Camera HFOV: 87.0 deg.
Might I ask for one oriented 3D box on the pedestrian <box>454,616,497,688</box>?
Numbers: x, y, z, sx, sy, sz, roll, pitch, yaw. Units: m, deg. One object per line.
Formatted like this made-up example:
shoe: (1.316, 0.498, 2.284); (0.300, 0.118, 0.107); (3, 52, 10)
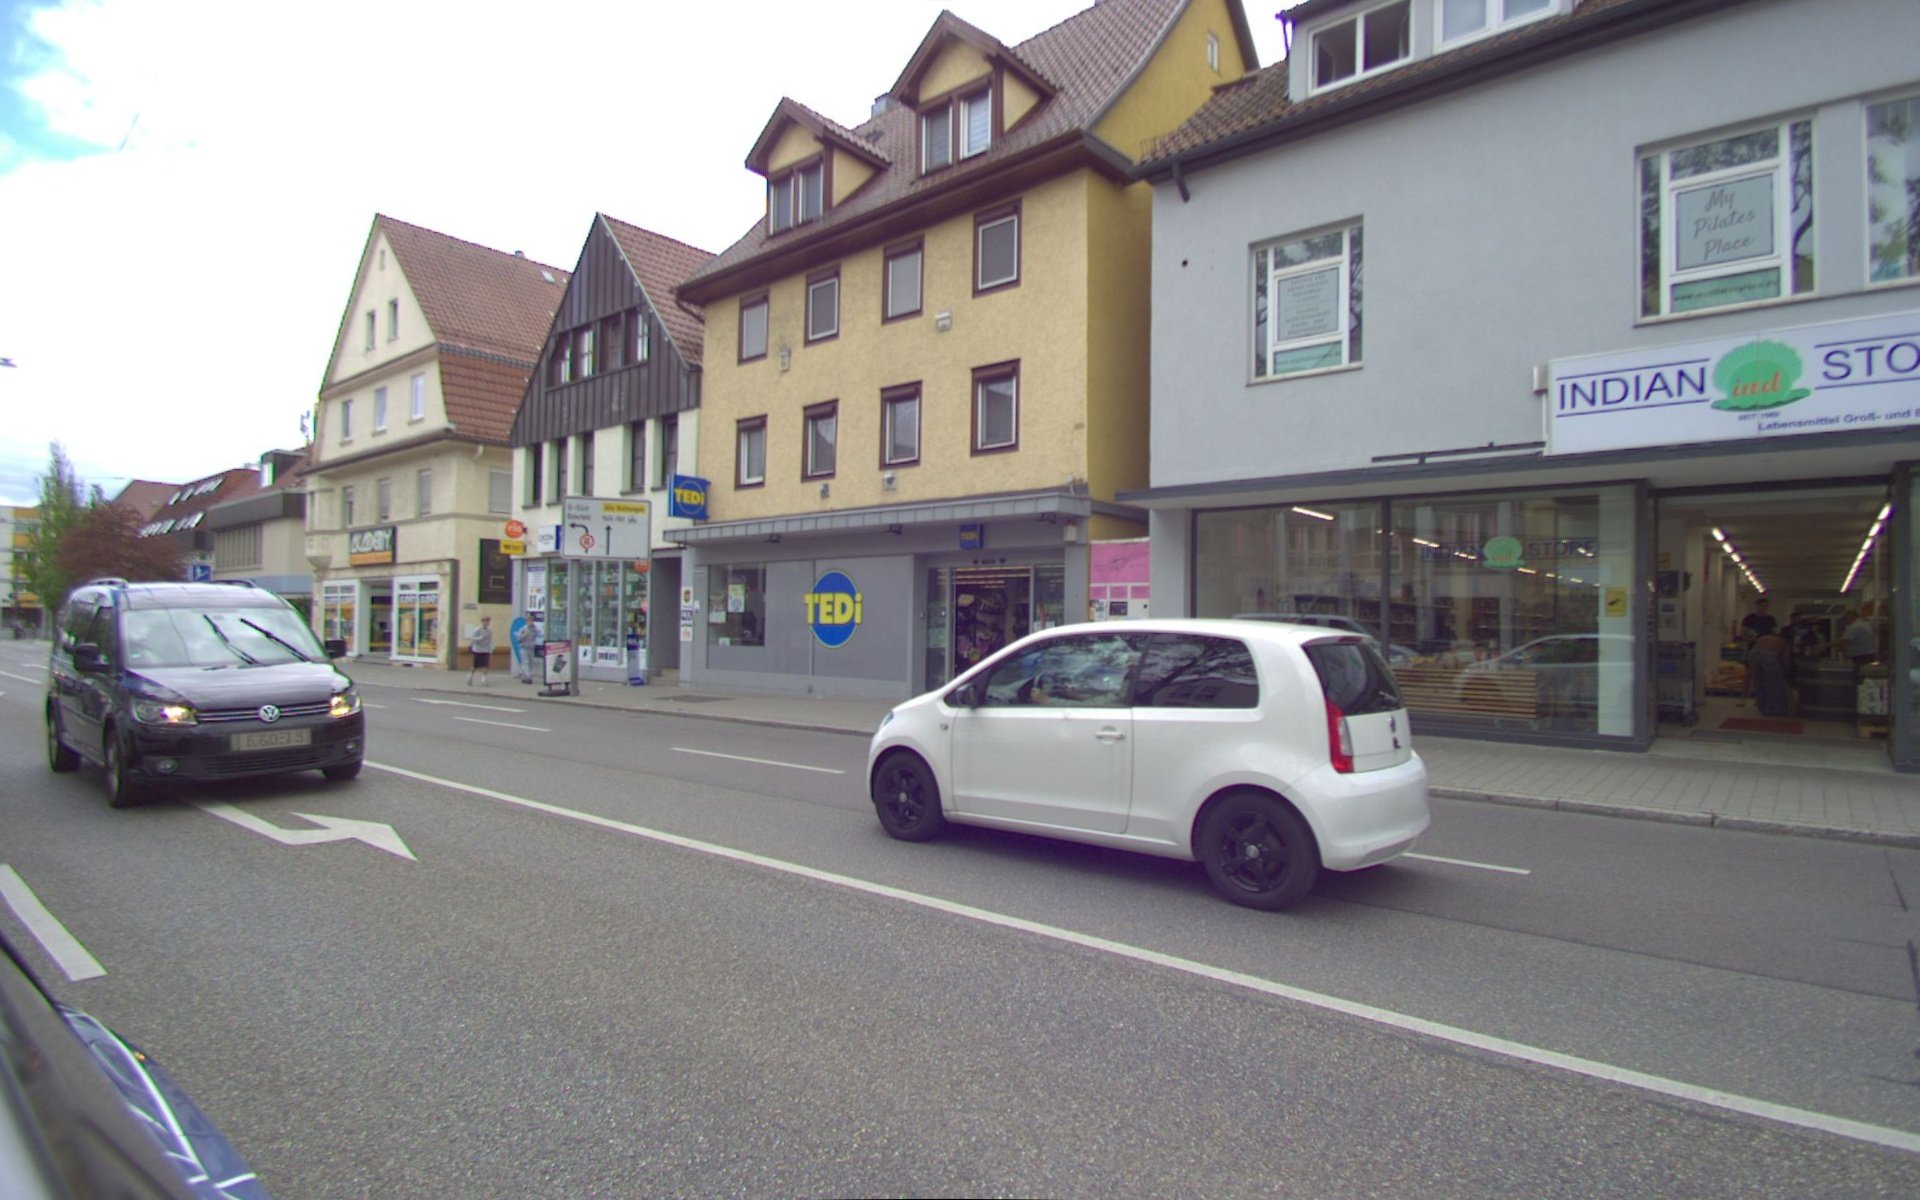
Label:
pedestrian: (-11.606, 1.230, 24.245); (0.742, 1.703, 0.680); (-2, -1, 41)

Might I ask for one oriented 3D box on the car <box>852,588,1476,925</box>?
car: (1.098, 0.758, 6.258); (3.461, 1.500, 1.558); (-1, -3, 41)

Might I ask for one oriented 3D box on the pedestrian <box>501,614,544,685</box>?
pedestrian: (-10.709, 1.198, 24.782); (0.709, 1.683, 0.680); (-2, 0, 41)

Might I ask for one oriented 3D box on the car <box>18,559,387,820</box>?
car: (-7.190, 0.676, 9.402); (4.630, 1.869, 1.727); (-1, -1, 40)
